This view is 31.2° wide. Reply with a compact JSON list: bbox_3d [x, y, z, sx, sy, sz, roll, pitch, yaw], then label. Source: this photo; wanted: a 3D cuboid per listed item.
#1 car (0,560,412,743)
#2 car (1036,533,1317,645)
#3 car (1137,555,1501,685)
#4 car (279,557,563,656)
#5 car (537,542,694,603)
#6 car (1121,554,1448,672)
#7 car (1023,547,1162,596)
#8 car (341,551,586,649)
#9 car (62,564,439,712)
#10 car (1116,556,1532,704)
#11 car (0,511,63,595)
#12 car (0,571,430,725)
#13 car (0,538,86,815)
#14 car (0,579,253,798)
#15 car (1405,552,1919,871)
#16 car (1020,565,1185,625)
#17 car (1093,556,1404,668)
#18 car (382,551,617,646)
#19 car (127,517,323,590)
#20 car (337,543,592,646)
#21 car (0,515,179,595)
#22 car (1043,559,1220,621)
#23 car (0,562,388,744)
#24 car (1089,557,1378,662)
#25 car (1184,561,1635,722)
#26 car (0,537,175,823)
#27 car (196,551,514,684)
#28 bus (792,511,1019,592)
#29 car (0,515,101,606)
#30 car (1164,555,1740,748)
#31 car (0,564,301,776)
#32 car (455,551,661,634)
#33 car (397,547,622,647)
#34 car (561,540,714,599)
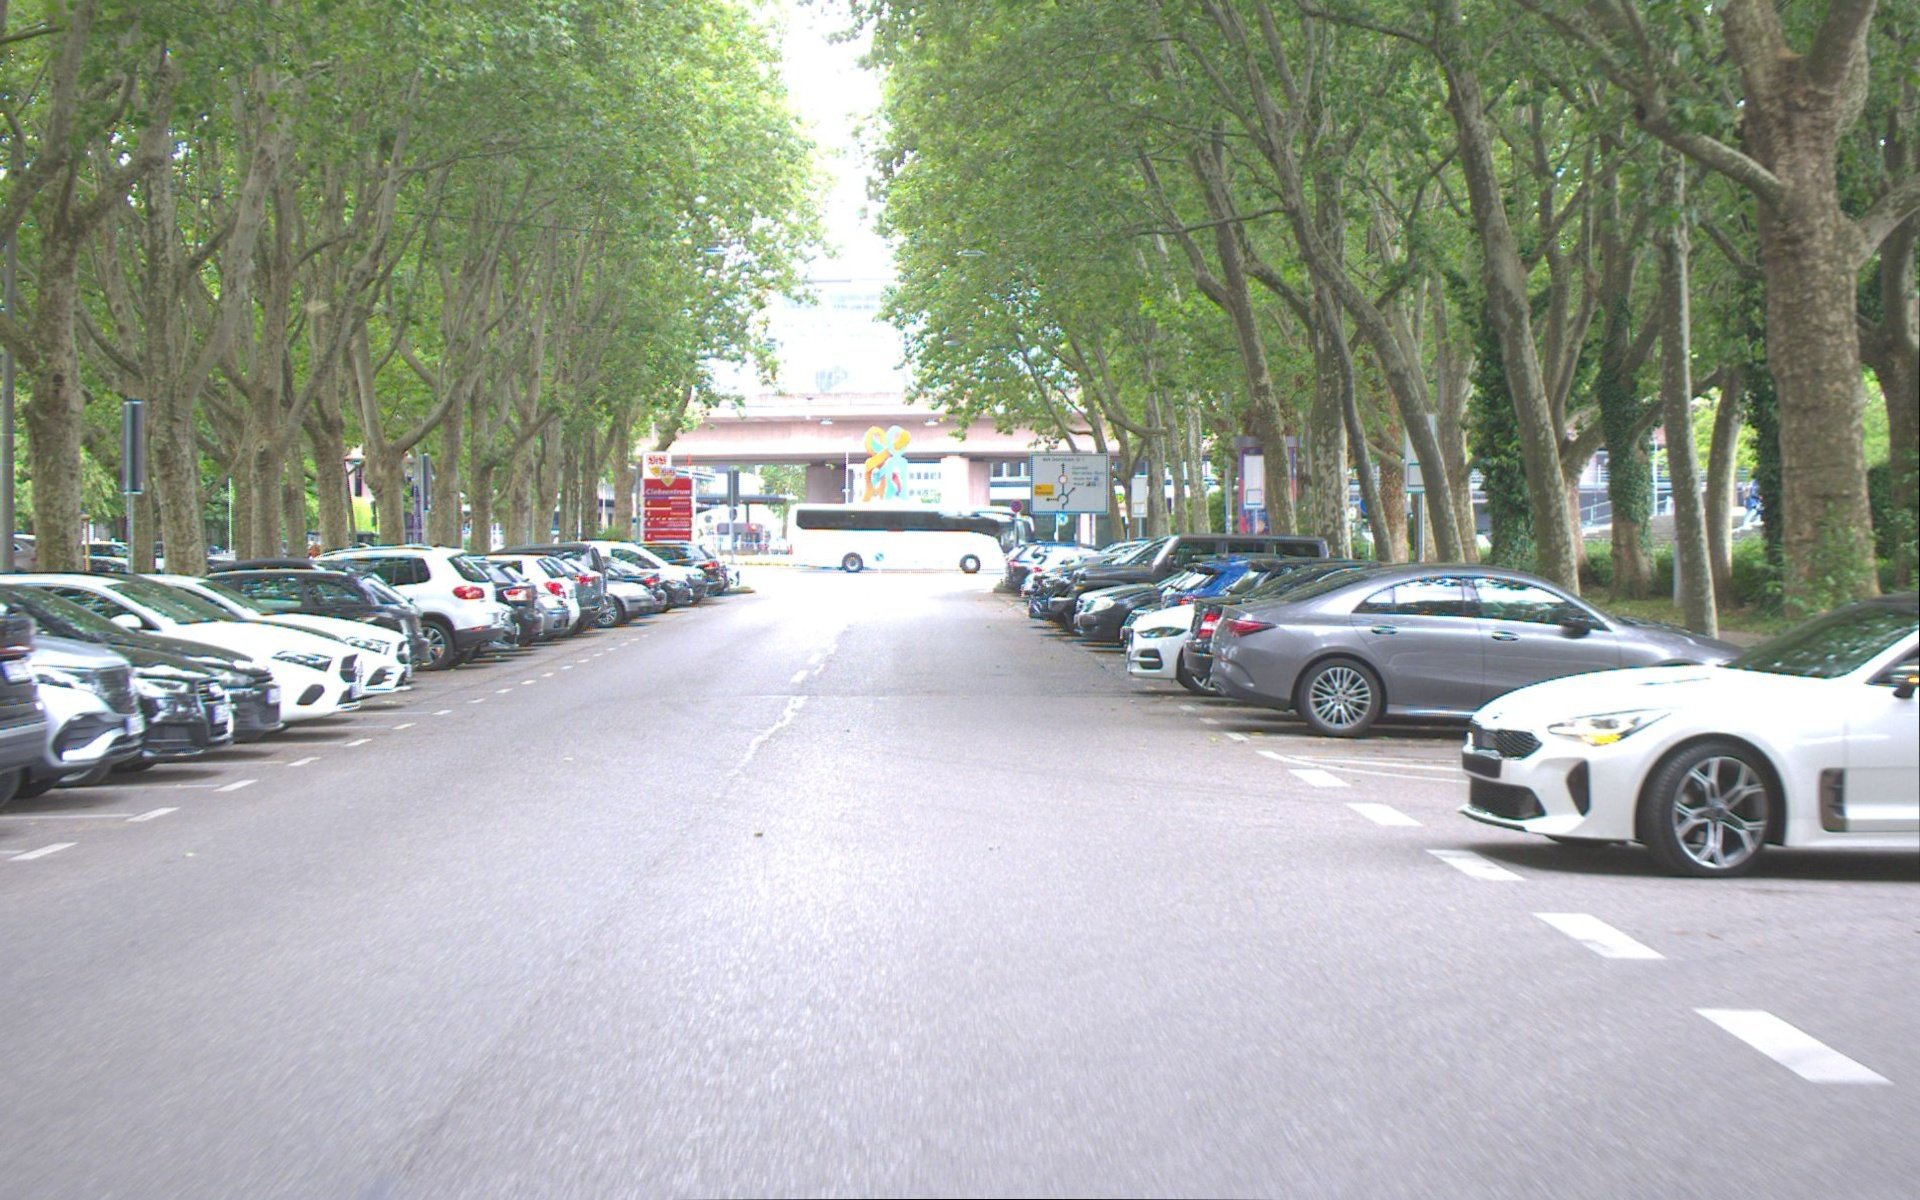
[{"bbox_3d":[-7.045,0.455,31.041,3.814,1.479,1.662,-2,1,4],"label":"car"},{"bbox_3d":[3.498,-0.196,55.998,4.376,1.745,1.731,1,1,-3],"label":"car"},{"bbox_3d":[4.204,0.220,40.647,4.176,1.437,1.731,1,1,4],"label":"car"},{"bbox_3d":[-8.001,0.084,51.216,3.814,1.292,1.785,-2,1,5],"label":"car"},{"bbox_3d":[-8.853,-0.723,88.492,3.814,1.510,1.686,1,1,2],"label":"car"},{"bbox_3d":[4.232,0.158,45.229,4.048,1.463,1.731,1,1,-3],"label":"car"},{"bbox_3d":[4.222,-0.922,110.127,4.376,1.517,1.731,1,1,0],"label":"car"},{"bbox_3d":[-8.470,-0.013,58.776,3.814,1.510,1.686,-2,1,5],"label":"car"},{"bbox_3d":[-7.975,0.414,38.834,3.814,1.479,1.662,-2,1,5],"label":"car"},{"bbox_3d":[3.742,0.288,35.736,4.176,1.437,1.731,1,1,4],"label":"car"},{"bbox_3d":[-24.763,-1.185,83.953,5.078,2.008,2.175,1,1,3],"label":"car"},{"bbox_3d":[-7.310,0.459,33.810,3.814,1.326,1.662,-2,1,5],"label":"car"},{"bbox_3d":[-7.305,0.468,18.537,4.664,1.422,2.000,-2,1,-2],"label":"car"},{"bbox_3d":[-7.152,0.637,23.713,4.166,1.376,1.871,-2,1,-2],"label":"car"},{"bbox_3d":[4.944,0.582,17.291,4.930,1.397,2.001,3,1,-11],"label":"car"},{"bbox_3d":[3.829,-0.141,92.800,4.376,1.517,1.731,1,1,0],"label":"car"},{"bbox_3d":[3.945,0.160,47.452,4.048,1.463,1.731,1,1,-3],"label":"car"},{"bbox_3d":[-8.148,-0.042,61.046,3.814,1.510,1.686,-2,1,5],"label":"car"},{"bbox_3d":[-21.101,-1.345,98.823,5.078,2.008,2.175,1,1,3],"label":"car"},{"bbox_3d":[-8.101,-0.100,56.398,3.814,1.510,1.686,-2,1,5],"label":"car"},{"bbox_3d":[-23.458,-1.201,90.861,5.078,2.008,2.175,1,1,3],"label":"car"},{"bbox_3d":[4.412,-0.267,88.838,4.376,1.517,1.731,1,1,-3],"label":"car"},{"bbox_3d":[-6.863,0.442,28.600,3.814,1.349,1.662,-2,1,5],"label":"car"},{"bbox_3d":[4.027,0.131,50.991,4.048,1.463,1.731,1,1,-3],"label":"car"},{"bbox_3d":[4.260,0.379,33.062,4.176,1.437,1.731,1,1,4],"label":"car"},{"bbox_3d":[-7.287,0.535,21.175,4.471,1.671,1.762,-2,1,-2],"label":"car"},{"bbox_3d":[-8.075,0.220,46.071,3.814,1.597,1.785,-2,1,5],"label":"car"},{"bbox_3d":[-2.795,-2.514,178.603,11.574,3.957,2.454,-1,0,2],"label":"bus"},{"bbox_3d":[-22.478,-0.942,78.637,5.078,2.008,2.175,1,1,3],"label":"car"},{"bbox_3d":[4.010,0.395,28.632,4.575,1.481,2.000,1,1,4],"label":"car"},{"bbox_3d":[-7.084,0.544,26.145,3.813,1.479,1.662,-2,1,-2],"label":"car"},{"bbox_3d":[-8.048,-0.161,69.010,3.814,1.510,1.686,-2,1,5],"label":"car"},{"bbox_3d":[-8.325,-0.068,63.754,3.814,1.684,1.686,-2,1,5],"label":"car"},{"bbox_3d":[-8.488,-0.821,90.744,3.814,1.510,1.686,1,1,2],"label":"car"}]
